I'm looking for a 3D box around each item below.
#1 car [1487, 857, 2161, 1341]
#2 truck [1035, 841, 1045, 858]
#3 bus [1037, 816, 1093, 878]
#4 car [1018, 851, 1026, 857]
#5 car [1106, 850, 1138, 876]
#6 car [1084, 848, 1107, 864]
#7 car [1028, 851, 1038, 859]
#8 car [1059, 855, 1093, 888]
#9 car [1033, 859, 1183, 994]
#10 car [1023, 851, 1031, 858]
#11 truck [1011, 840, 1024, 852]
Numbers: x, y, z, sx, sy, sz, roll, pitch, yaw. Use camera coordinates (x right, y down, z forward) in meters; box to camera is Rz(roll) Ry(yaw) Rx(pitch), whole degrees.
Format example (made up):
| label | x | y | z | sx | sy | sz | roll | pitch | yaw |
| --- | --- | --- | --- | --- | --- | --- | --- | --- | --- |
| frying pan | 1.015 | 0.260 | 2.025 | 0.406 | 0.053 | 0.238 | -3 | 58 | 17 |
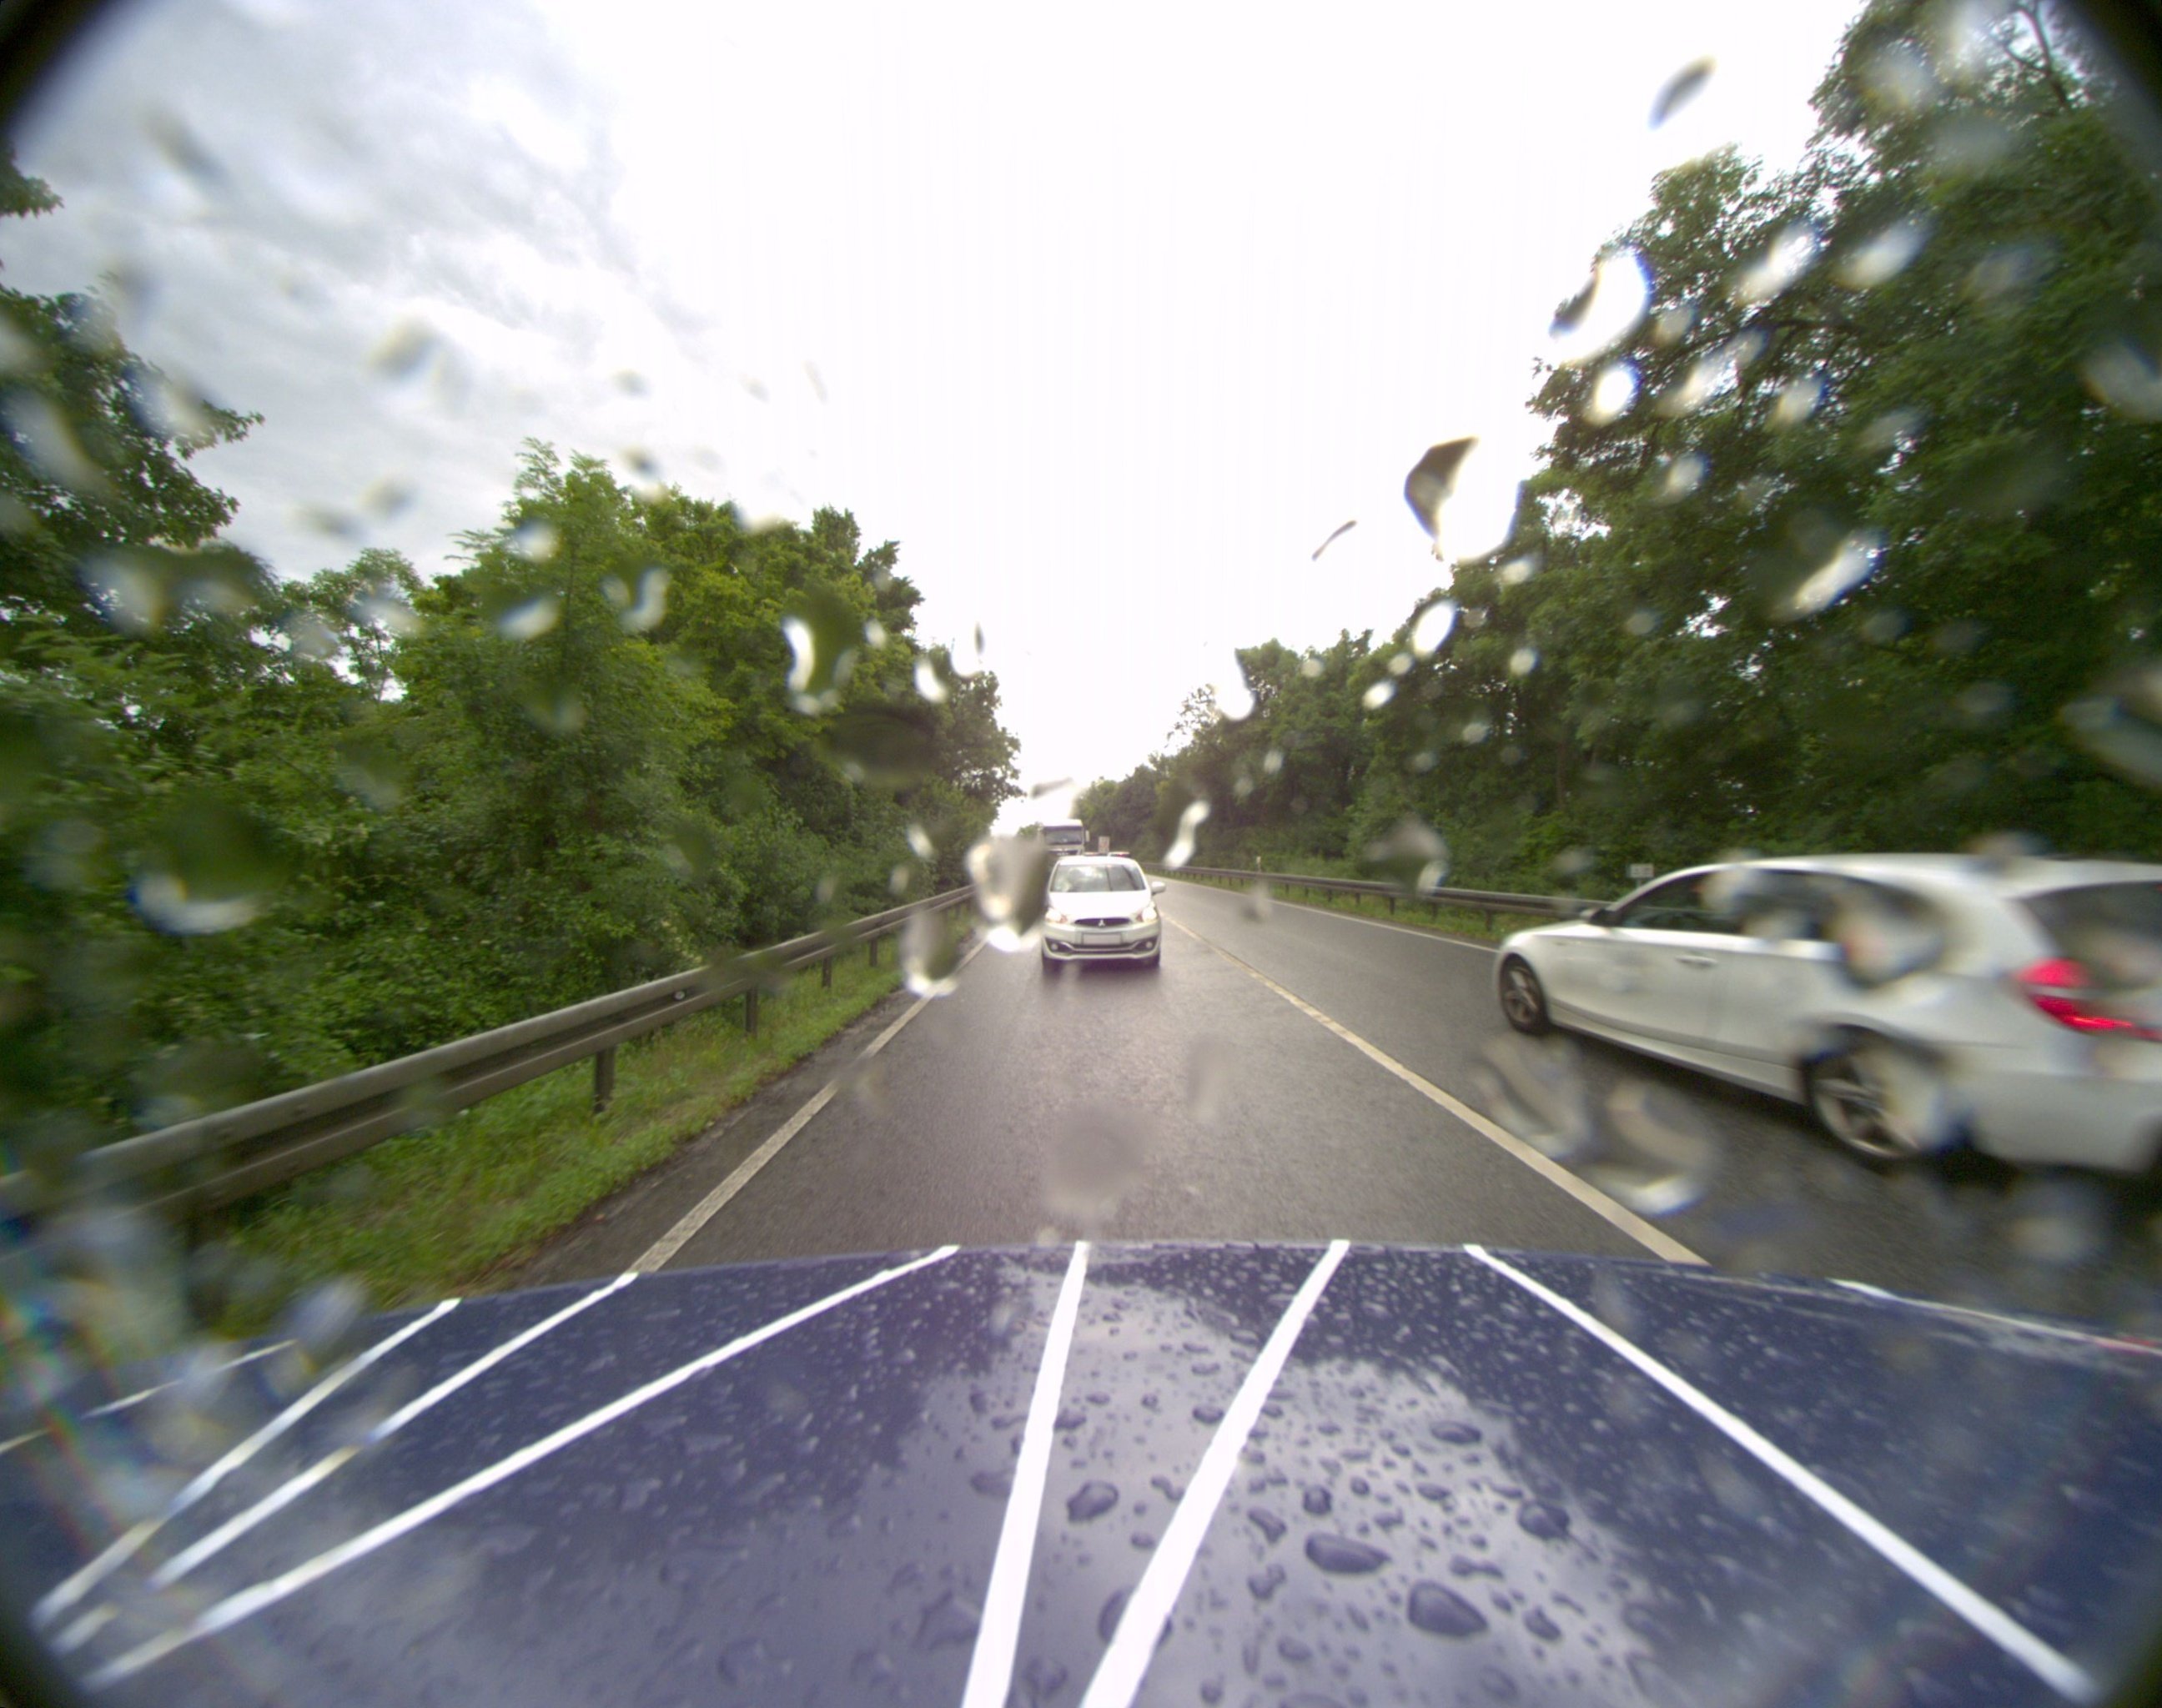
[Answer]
| label | x | y | z | sx | sy | sz | roll | pitch | yaw |
| --- | --- | --- | --- | --- | --- | --- | --- | --- | --- |
| car | 4.294 | 0.775 | 4.314 | 1.819 | 1.445 | 4.047 | -1 | 0 | 0 |
| truck | -7.295 | -0.791 | 135.835 | 1.480 | 2.860 | 5.682 | -2 | 0 | -6 |
| bus | -1.109 | -0.402 | 49.467 | 3.063 | 3.405 | 13.637 | -1 | 0 | -2 |
| car | -13.932 | 0.014 | 179.361 | 1.535 | 1.459 | 3.072 | -2 | 0 | -8 |
| car | 2.670 | 0.571 | 50.230 | 1.801 | 1.650 | 4.081 | -1 | 0 | -2 |
| car | 1.311 | 0.157 | 70.244 | 1.886 | 1.412 | 3.999 | -1 | 0 | -2 |
| car | -9.440 | 0.148 | 149.010 | 1.535 | 1.459 | 3.072 | -2 | 0 | -8 |
| car | -0.253 | 0.793 | 35.099 | 1.476 | 1.410 | 3.428 | -1 | -1 | -2 |
| car | 0.233 | 0.851 | 10.798 | 1.701 | 1.471 | 4.062 | -1 | 0 | -2 |
| car | -11.982 | 0.036 | 168.964 | 1.535 | 1.459 | 3.072 | -2 | 0 | -8 |
| truck | -16.410 | -2.067 | 195.715 | 2.433 | 2.982 | 6.937 | -2 | 1 | -11 |
